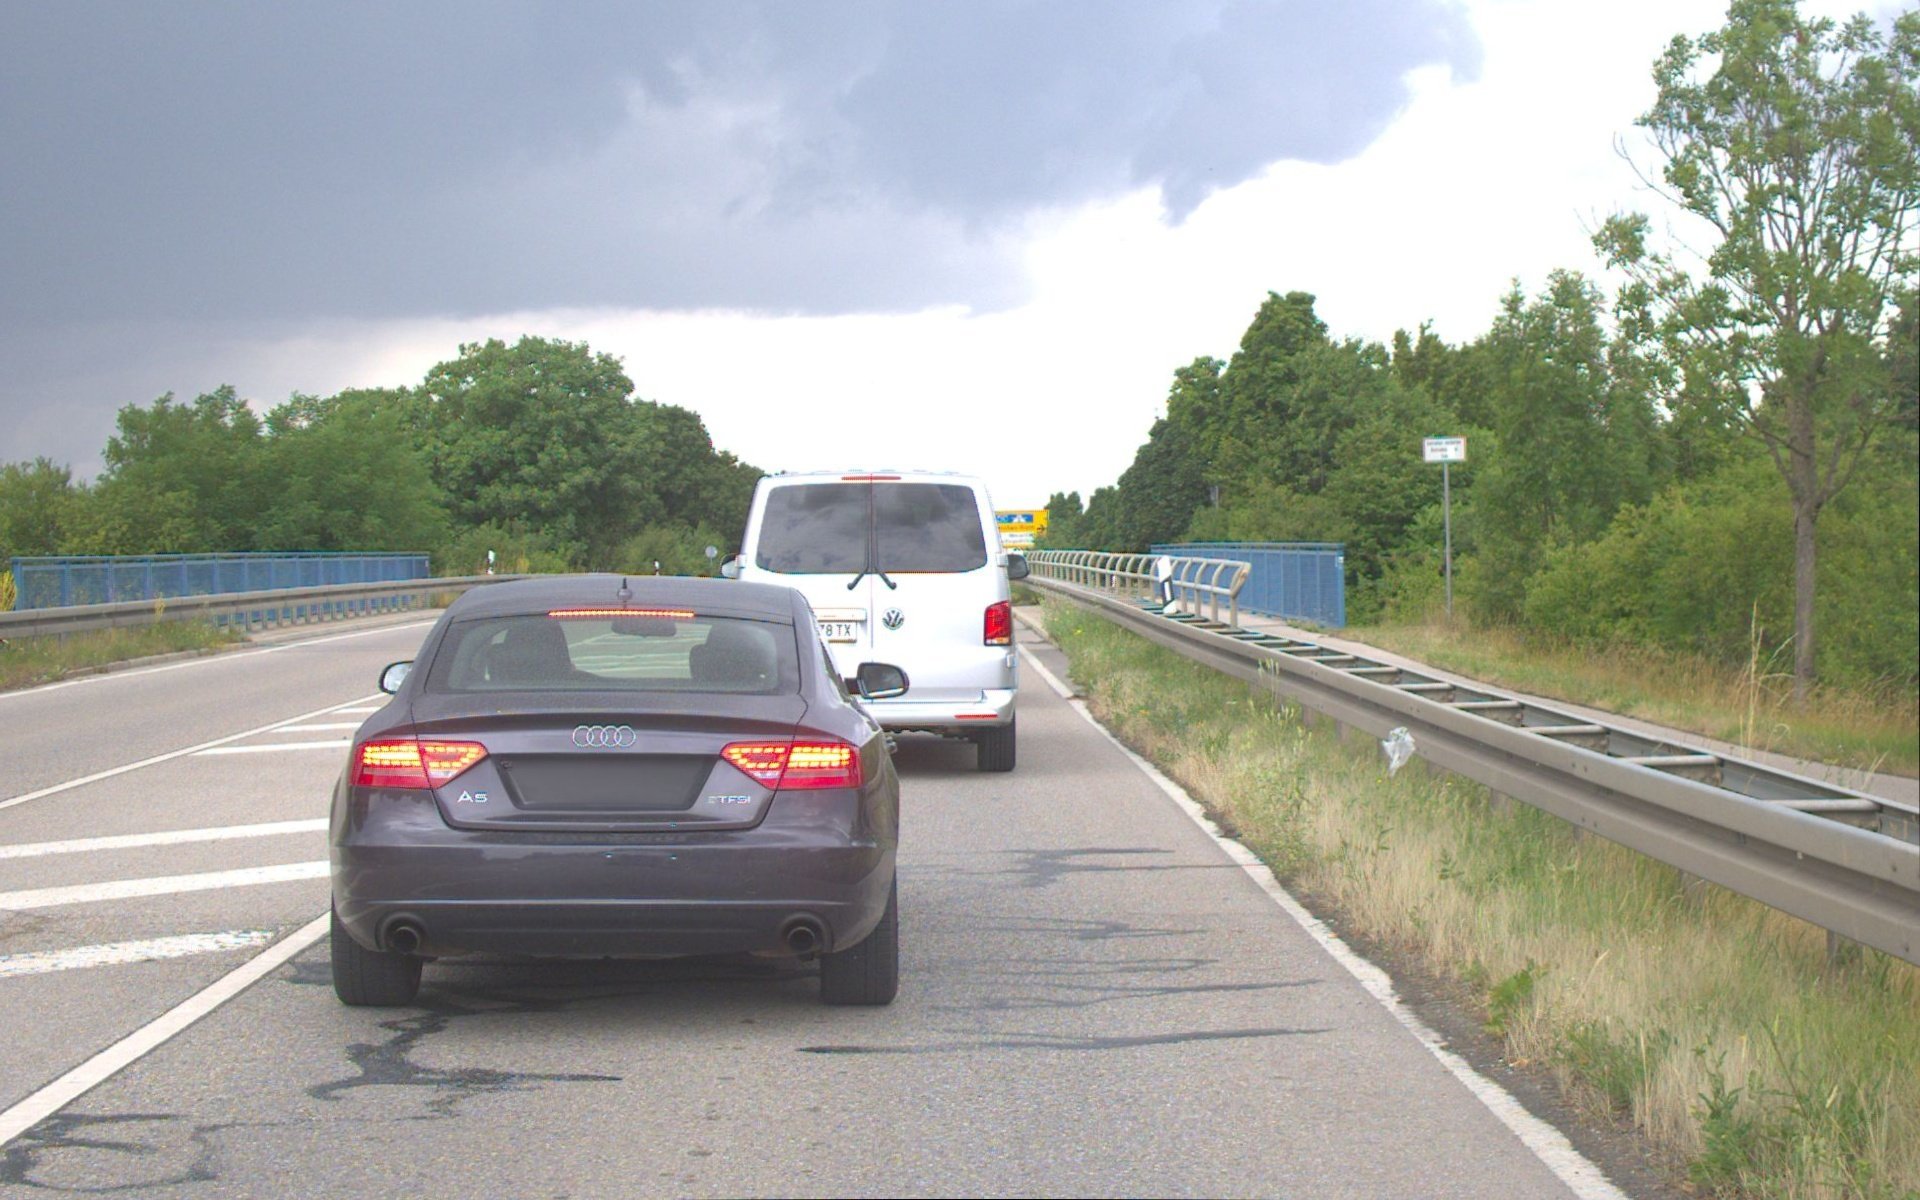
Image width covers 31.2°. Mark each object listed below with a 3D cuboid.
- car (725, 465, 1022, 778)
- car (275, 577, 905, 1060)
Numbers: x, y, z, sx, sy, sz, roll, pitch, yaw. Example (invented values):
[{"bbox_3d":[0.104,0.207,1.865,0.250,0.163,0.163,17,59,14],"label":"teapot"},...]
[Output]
[{"bbox_3d":[-0.562,0.106,23.409,1.828,1.929,4.000,-1,1,-1],"label":"car"},{"bbox_3d":[-1.121,0.630,12.170,1.821,1.376,4.072,-1,1,-1],"label":"car"}]
